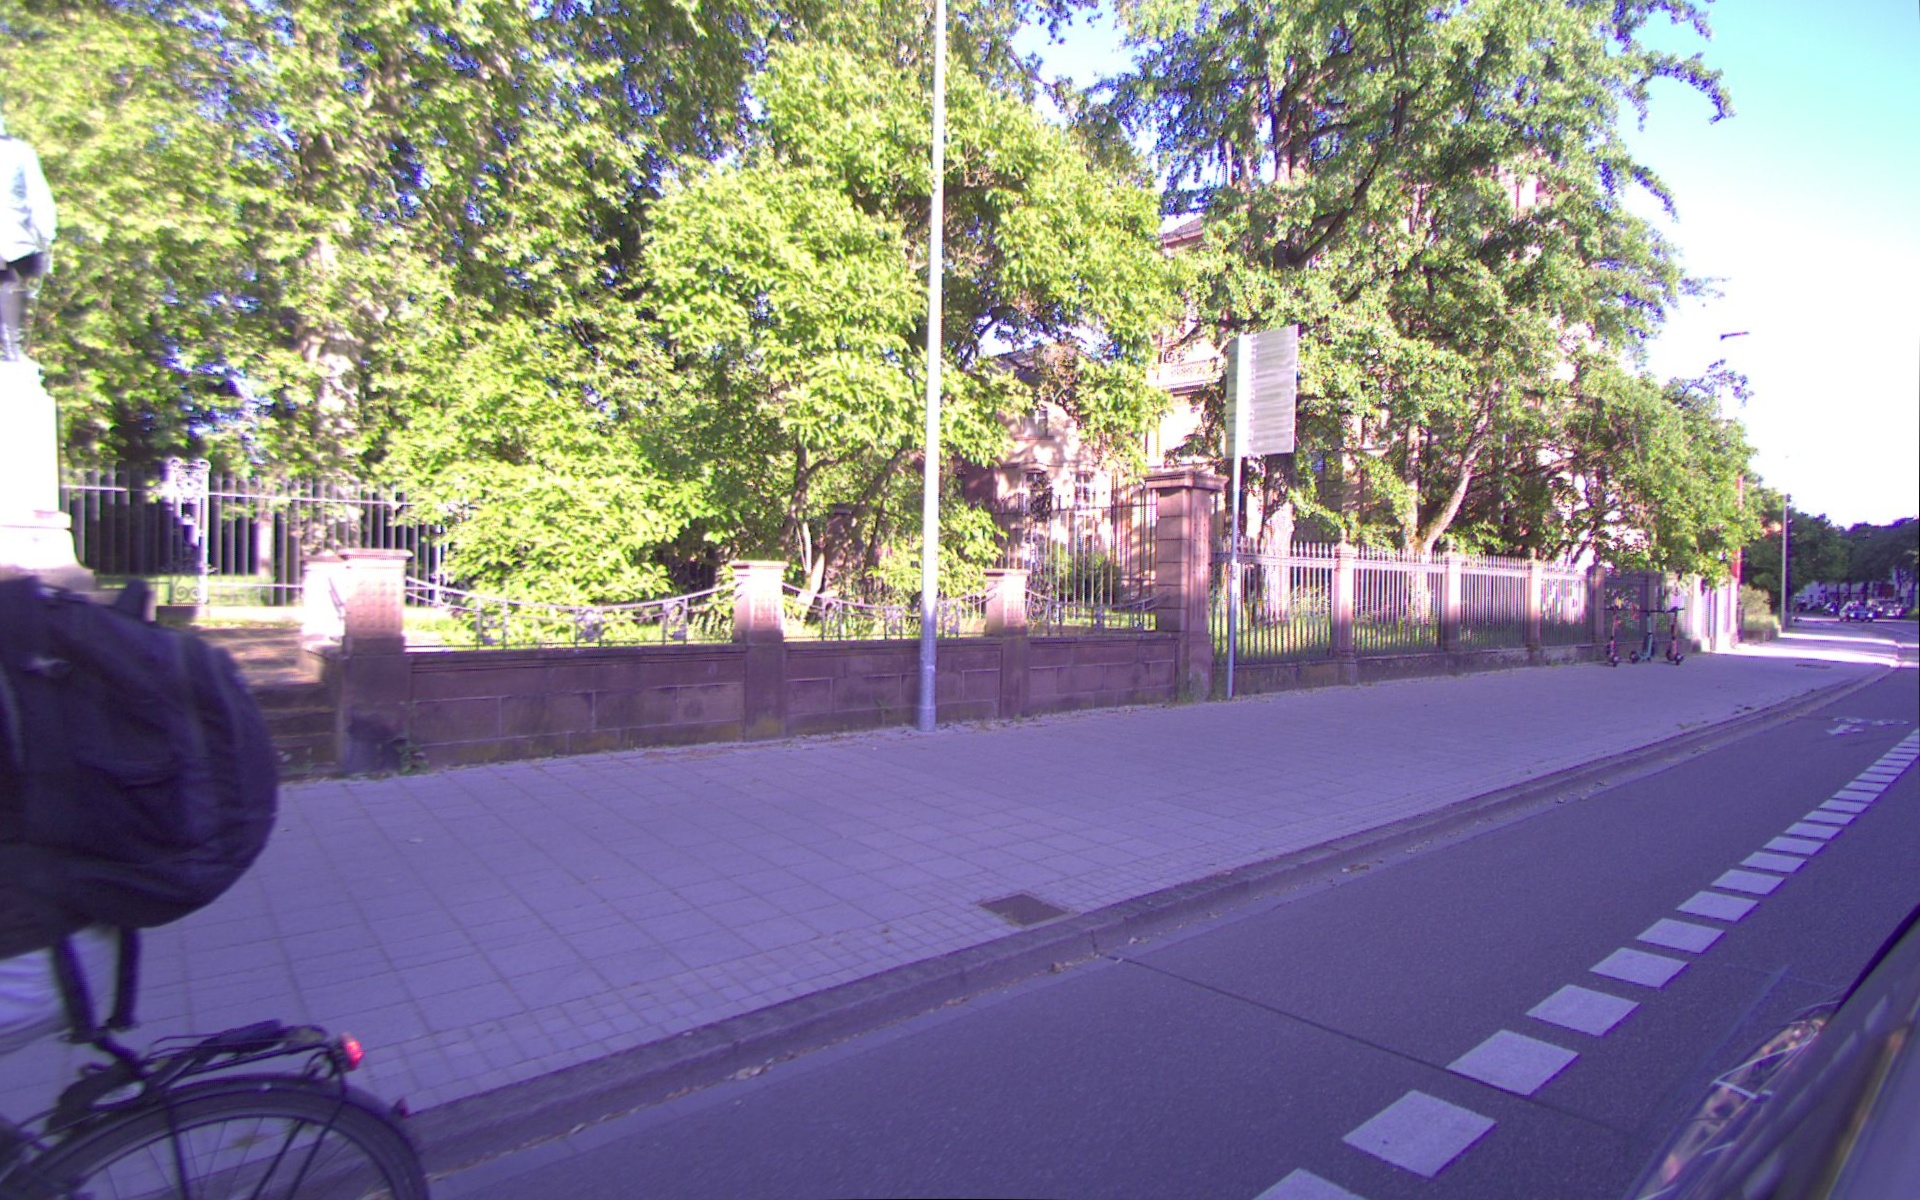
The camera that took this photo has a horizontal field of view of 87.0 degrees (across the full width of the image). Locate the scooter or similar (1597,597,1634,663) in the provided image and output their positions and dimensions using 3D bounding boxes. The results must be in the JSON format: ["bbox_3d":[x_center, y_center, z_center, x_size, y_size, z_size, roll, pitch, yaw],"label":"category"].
[{"bbox_3d":[13.333,0.580,20.562,0.572,1.269,1.469,2,1,34],"label":"scooter or similar"}]

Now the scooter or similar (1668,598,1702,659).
[{"bbox_3d":[15.817,0.594,22.076,0.514,1.255,1.501,2,1,38],"label":"scooter or similar"}]

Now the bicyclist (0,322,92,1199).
[{"bbox_3d":[-1.544,0.488,1.241,0.708,1.622,0.666,1,-1,-41],"label":"bicyclist"}]

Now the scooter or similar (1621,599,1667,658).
[{"bbox_3d":[14.709,0.591,21.753,0.574,1.199,1.465,2,1,42],"label":"scooter or similar"}]

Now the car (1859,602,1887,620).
[{"bbox_3d":[78.601,0.925,87.158,1.704,1.422,4.199,2,2,42],"label":"car"}]

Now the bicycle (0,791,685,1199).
[{"bbox_3d":[-1.457,0.933,1.313,2.044,1.022,0.670,0,-1,-41],"label":"bicycle"}]
